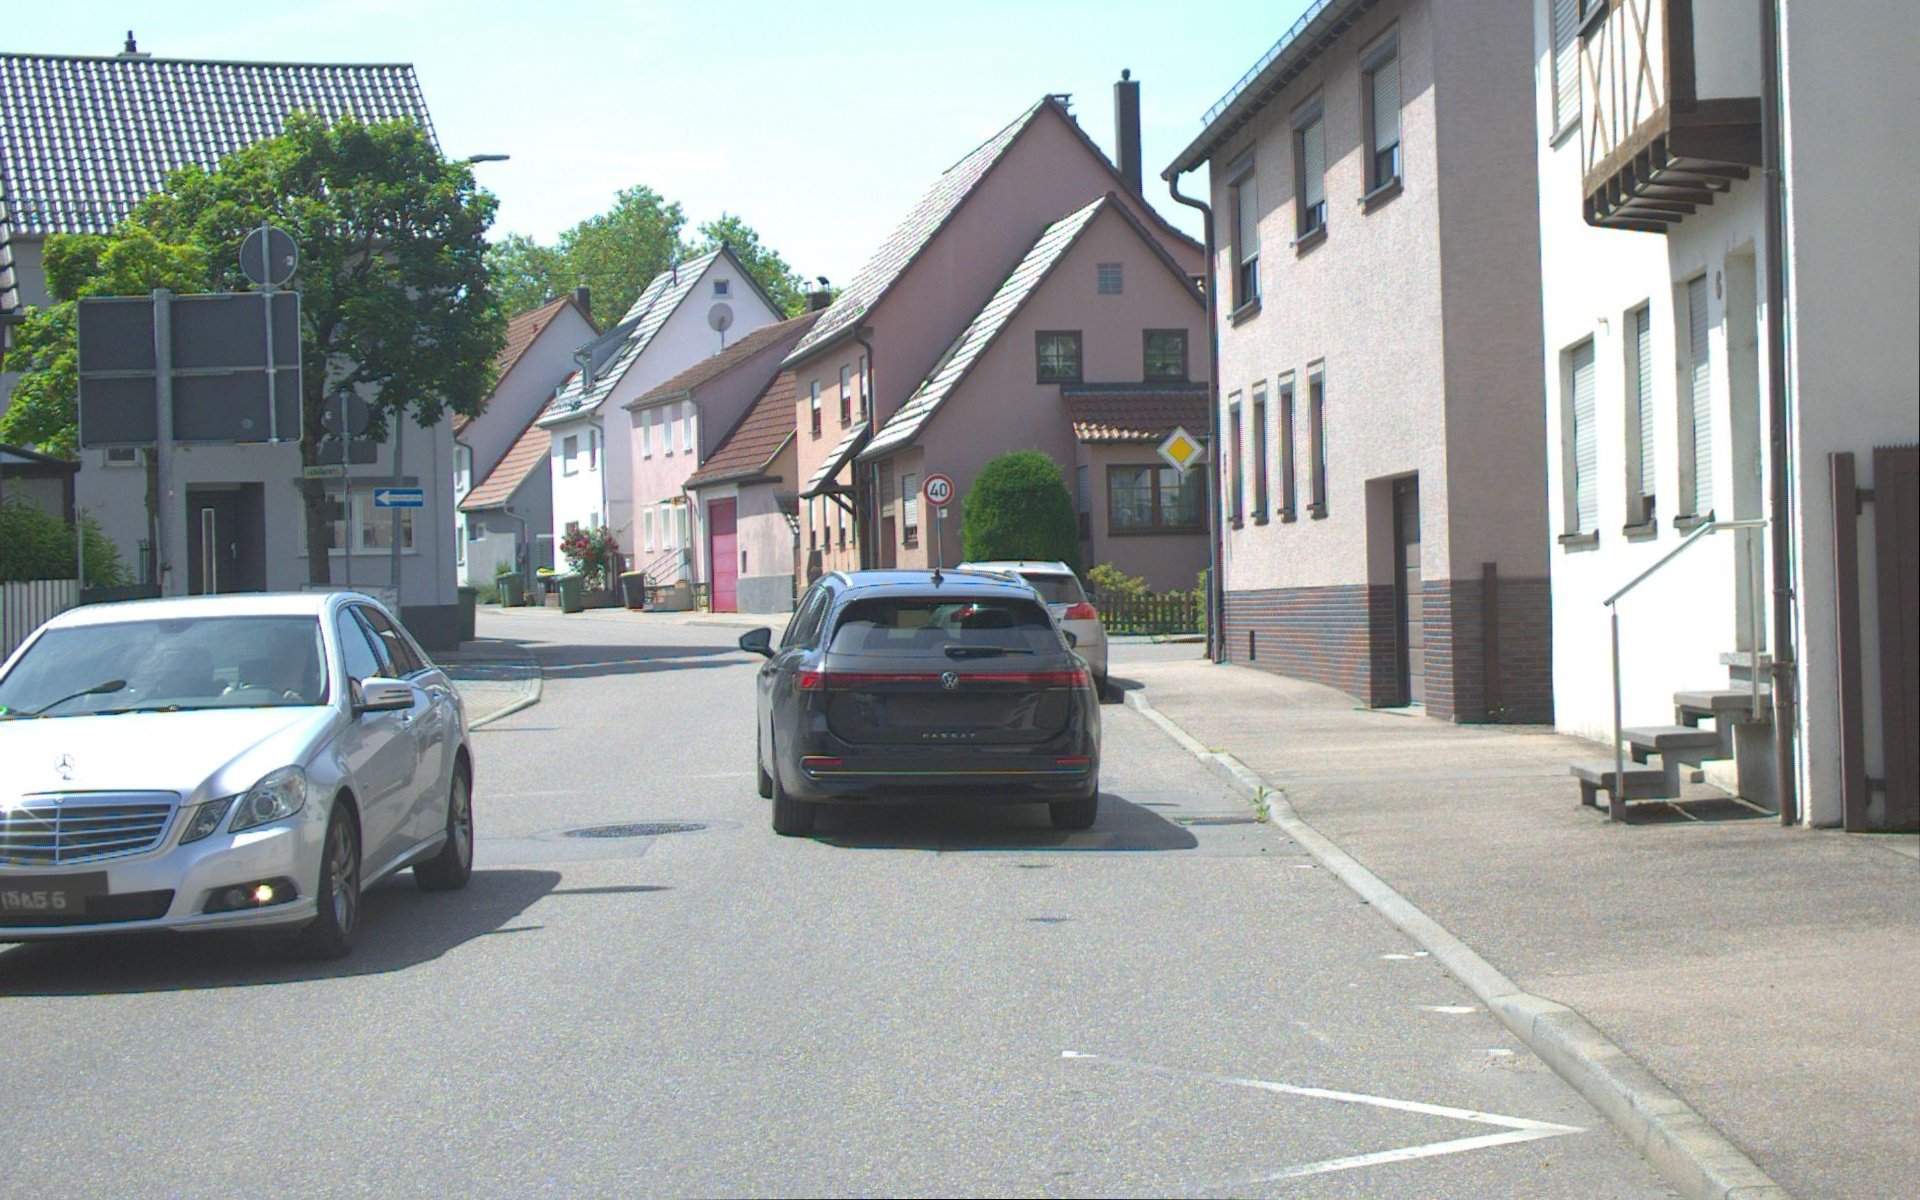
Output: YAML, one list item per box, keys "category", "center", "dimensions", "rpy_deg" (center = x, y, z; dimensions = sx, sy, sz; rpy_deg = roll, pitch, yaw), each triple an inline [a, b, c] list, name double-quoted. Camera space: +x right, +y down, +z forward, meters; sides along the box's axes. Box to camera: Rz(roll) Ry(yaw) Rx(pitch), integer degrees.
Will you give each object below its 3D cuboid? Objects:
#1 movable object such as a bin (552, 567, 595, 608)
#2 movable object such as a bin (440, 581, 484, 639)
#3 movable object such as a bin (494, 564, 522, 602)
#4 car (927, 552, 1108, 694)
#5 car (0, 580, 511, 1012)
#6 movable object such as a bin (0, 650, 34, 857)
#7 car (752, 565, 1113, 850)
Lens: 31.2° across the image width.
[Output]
- category: "movable object such as a bin"
  center: [-10.943, -0.367, 97.329]
  dimensions: [0.876, 1.071, 0.873]
  rpy_deg: [-6, 3, -23]
- category: "movable object such as a bin"
  center: [-9.339, 0.185, 64.424]
  dimensions: [0.753, 1.056, 0.680]
  rpy_deg: [-1, 1, -12]
- category: "movable object such as a bin"
  center: [-13.963, -0.528, 106.199]
  dimensions: [0.678, 1.151, 0.820]
  rpy_deg: [-1, 0, -23]
- category: "car"
  center: [0.576, 0.205, 37.620]
  dimensions: [1.785, 1.437, 4.337]
  rpy_deg: [-1, 1, -2]
- category: "car"
  center: [-3.285, 0.728, 14.849]
  dimensions: [1.955, 1.481, 4.459]
  rpy_deg: [-3, 1, 1]
- category: "movable object such as a bin"
  center: [-5.486, 0.821, 18.385]
  dimensions: [0.826, 1.073, 0.818]
  rpy_deg: [-1, 1, 1]
- category: "car"
  center: [-0.279, 0.529, 19.999]
  dimensions: [1.841, 1.415, 4.683]
  rpy_deg: [-1, 1, -3]
